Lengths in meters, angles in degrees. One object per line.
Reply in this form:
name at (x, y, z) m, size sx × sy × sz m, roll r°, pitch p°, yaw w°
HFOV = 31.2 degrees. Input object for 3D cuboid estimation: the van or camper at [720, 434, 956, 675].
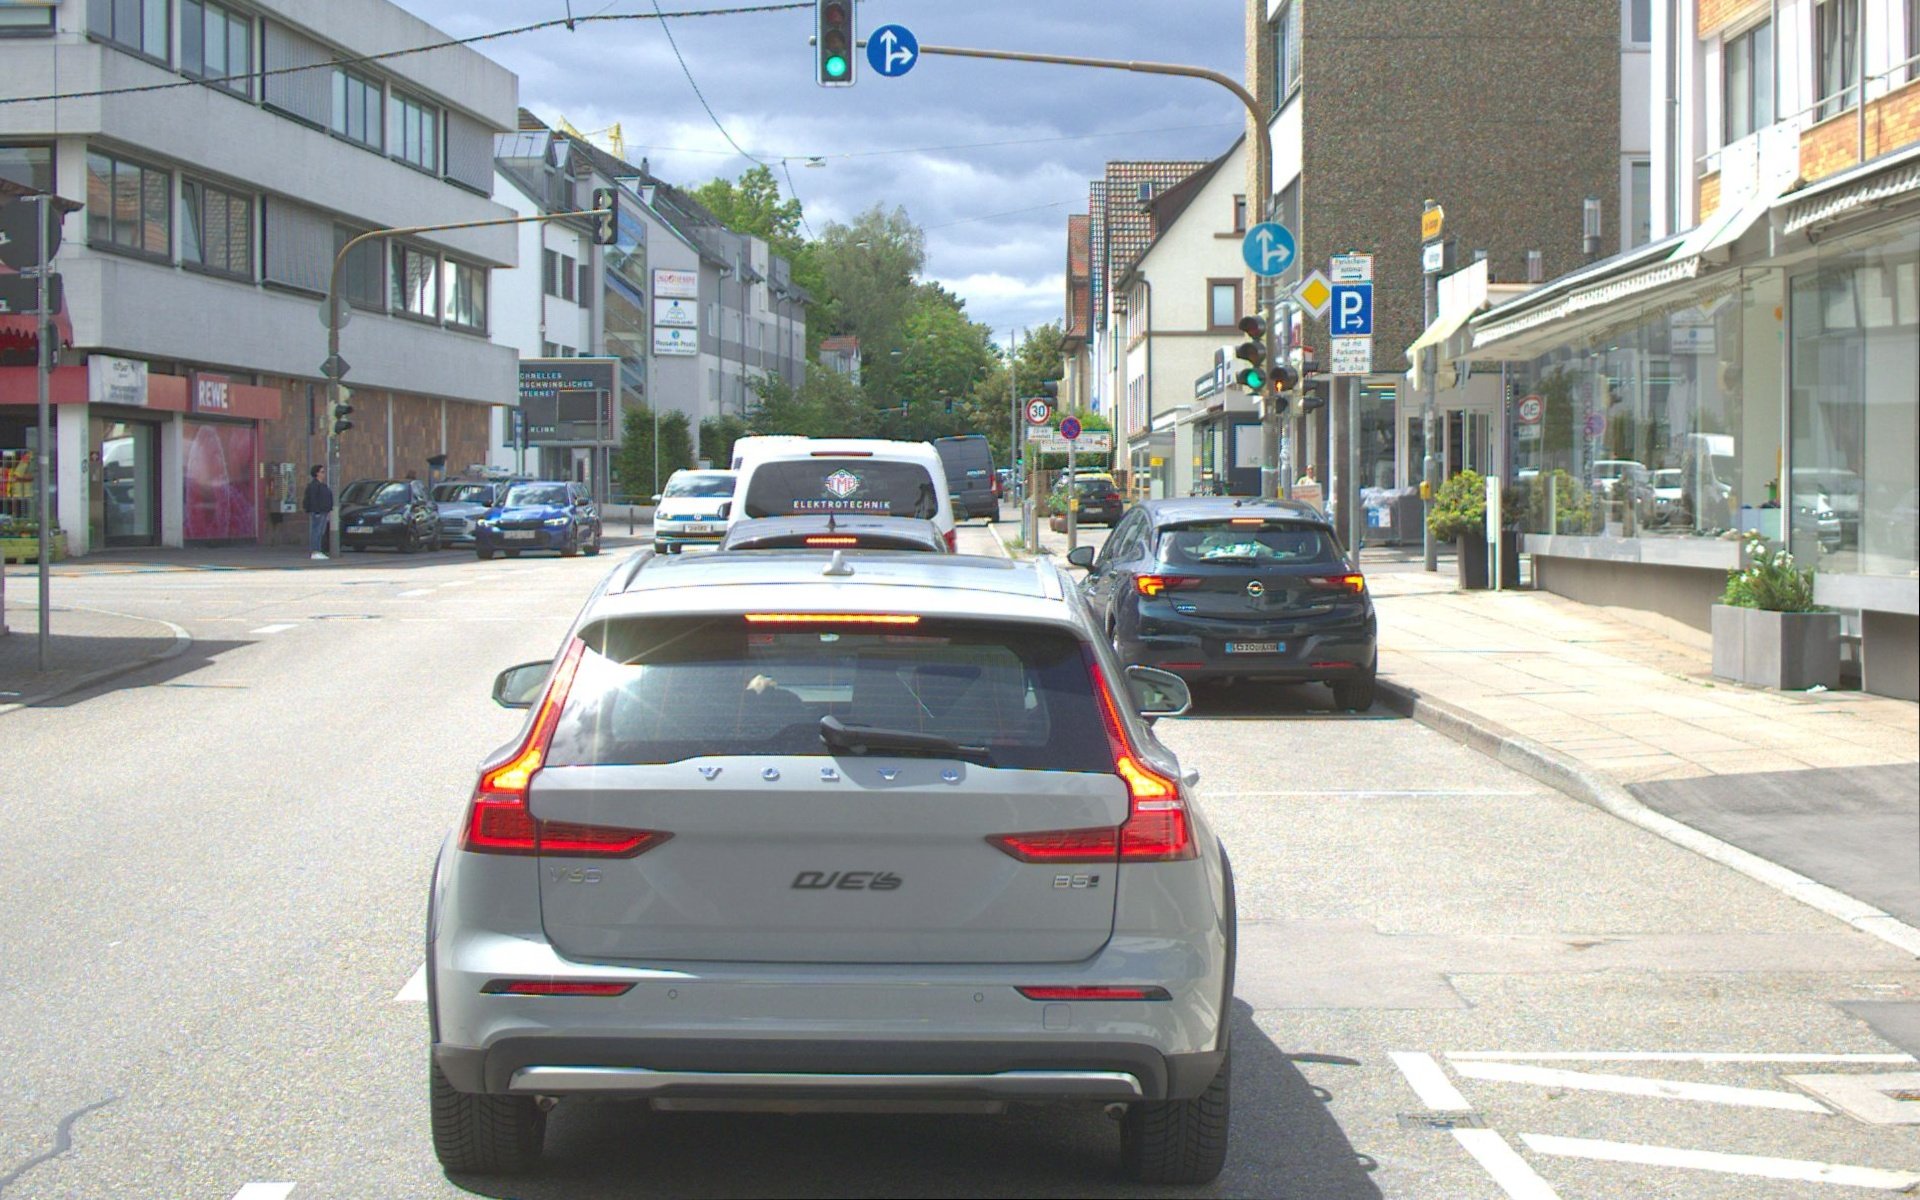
van or camper at (-0.963, -0.445, 28.568) m, size 1.819 × 1.828 × 4.001 m, roll 0°, pitch 3°, yaw -1°

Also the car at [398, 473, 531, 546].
car at (-10.535, -1.952, 73.356) m, size 1.904 × 1.438 × 4.443 m, roll 2°, pitch 2°, yaw 4°

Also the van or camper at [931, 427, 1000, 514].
van or camper at (0.204, -4.100, 108.624) m, size 2.123 × 2.677 × 4.781 m, roll 0°, pitch 2°, yaw 1°

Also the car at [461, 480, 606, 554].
car at (-8.066, -1.596, 65.374) m, size 1.994 × 1.333 × 4.356 m, roll 0°, pitch 2°, yaw 3°

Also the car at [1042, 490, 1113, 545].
car at (3.284, -2.298, 96.770) m, size 1.710 × 1.459 × 4.000 m, roll 1°, pitch 1°, yaw -2°

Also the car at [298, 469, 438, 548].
car at (-11.558, -1.802, 67.401) m, size 1.785 × 1.459 × 4.086 m, roll 2°, pitch 2°, yaw 4°

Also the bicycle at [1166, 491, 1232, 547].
bicycle at (4.984, -1.693, 71.756) m, size 0.554 × 1.140 × 2.301 m, roll -1°, pitch 2°, yaw -18°

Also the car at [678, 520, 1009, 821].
car at (-0.607, 0.314, 19.111) m, size 1.650 × 1.477 × 3.608 m, roll 1°, pitch 2°, yaw -1°

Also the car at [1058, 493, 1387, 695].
car at (1.803, -0.071, 24.725) m, size 1.807 × 1.342 × 3.719 m, roll 0°, pitch 1°, yaw -4°

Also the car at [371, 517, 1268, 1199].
car at (-0.315, 0.537, 9.059) m, size 1.836 × 1.481 × 4.000 m, roll 0°, pitch 1°, yaw -1°

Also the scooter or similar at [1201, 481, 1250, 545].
scooter or similar at (5.278, -1.725, 68.383) m, size 0.340 × 1.249 × 1.246 m, roll -3°, pitch 2°, yaw -26°

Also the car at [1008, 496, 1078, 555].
car at (1.830, -1.647, 76.286) m, size 1.438 × 1.283 × 3.248 m, roll 0°, pitch 1°, yaw -1°

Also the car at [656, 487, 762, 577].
car at (-4.886, -1.358, 67.291) m, size 1.775 × 1.607 × 4.120 m, roll -1°, pitch 3°, yaw -1°

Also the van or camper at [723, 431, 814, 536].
van or camper at (-4.807, -2.982, 86.832) m, size 2.148 × 2.547 × 5.439 m, roll -1°, pitch 3°, yaw -2°

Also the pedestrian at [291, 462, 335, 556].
pedestrian at (-11.382, -1.602, 60.512) m, size 0.619 × 1.635 × 0.660 m, roll 0°, pitch 2°, yaw 1°

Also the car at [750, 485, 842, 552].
car at (-3.754, -1.865, 79.045) m, size 1.791 × 1.506 × 3.845 m, roll 0°, pitch 1°, yaw 2°
